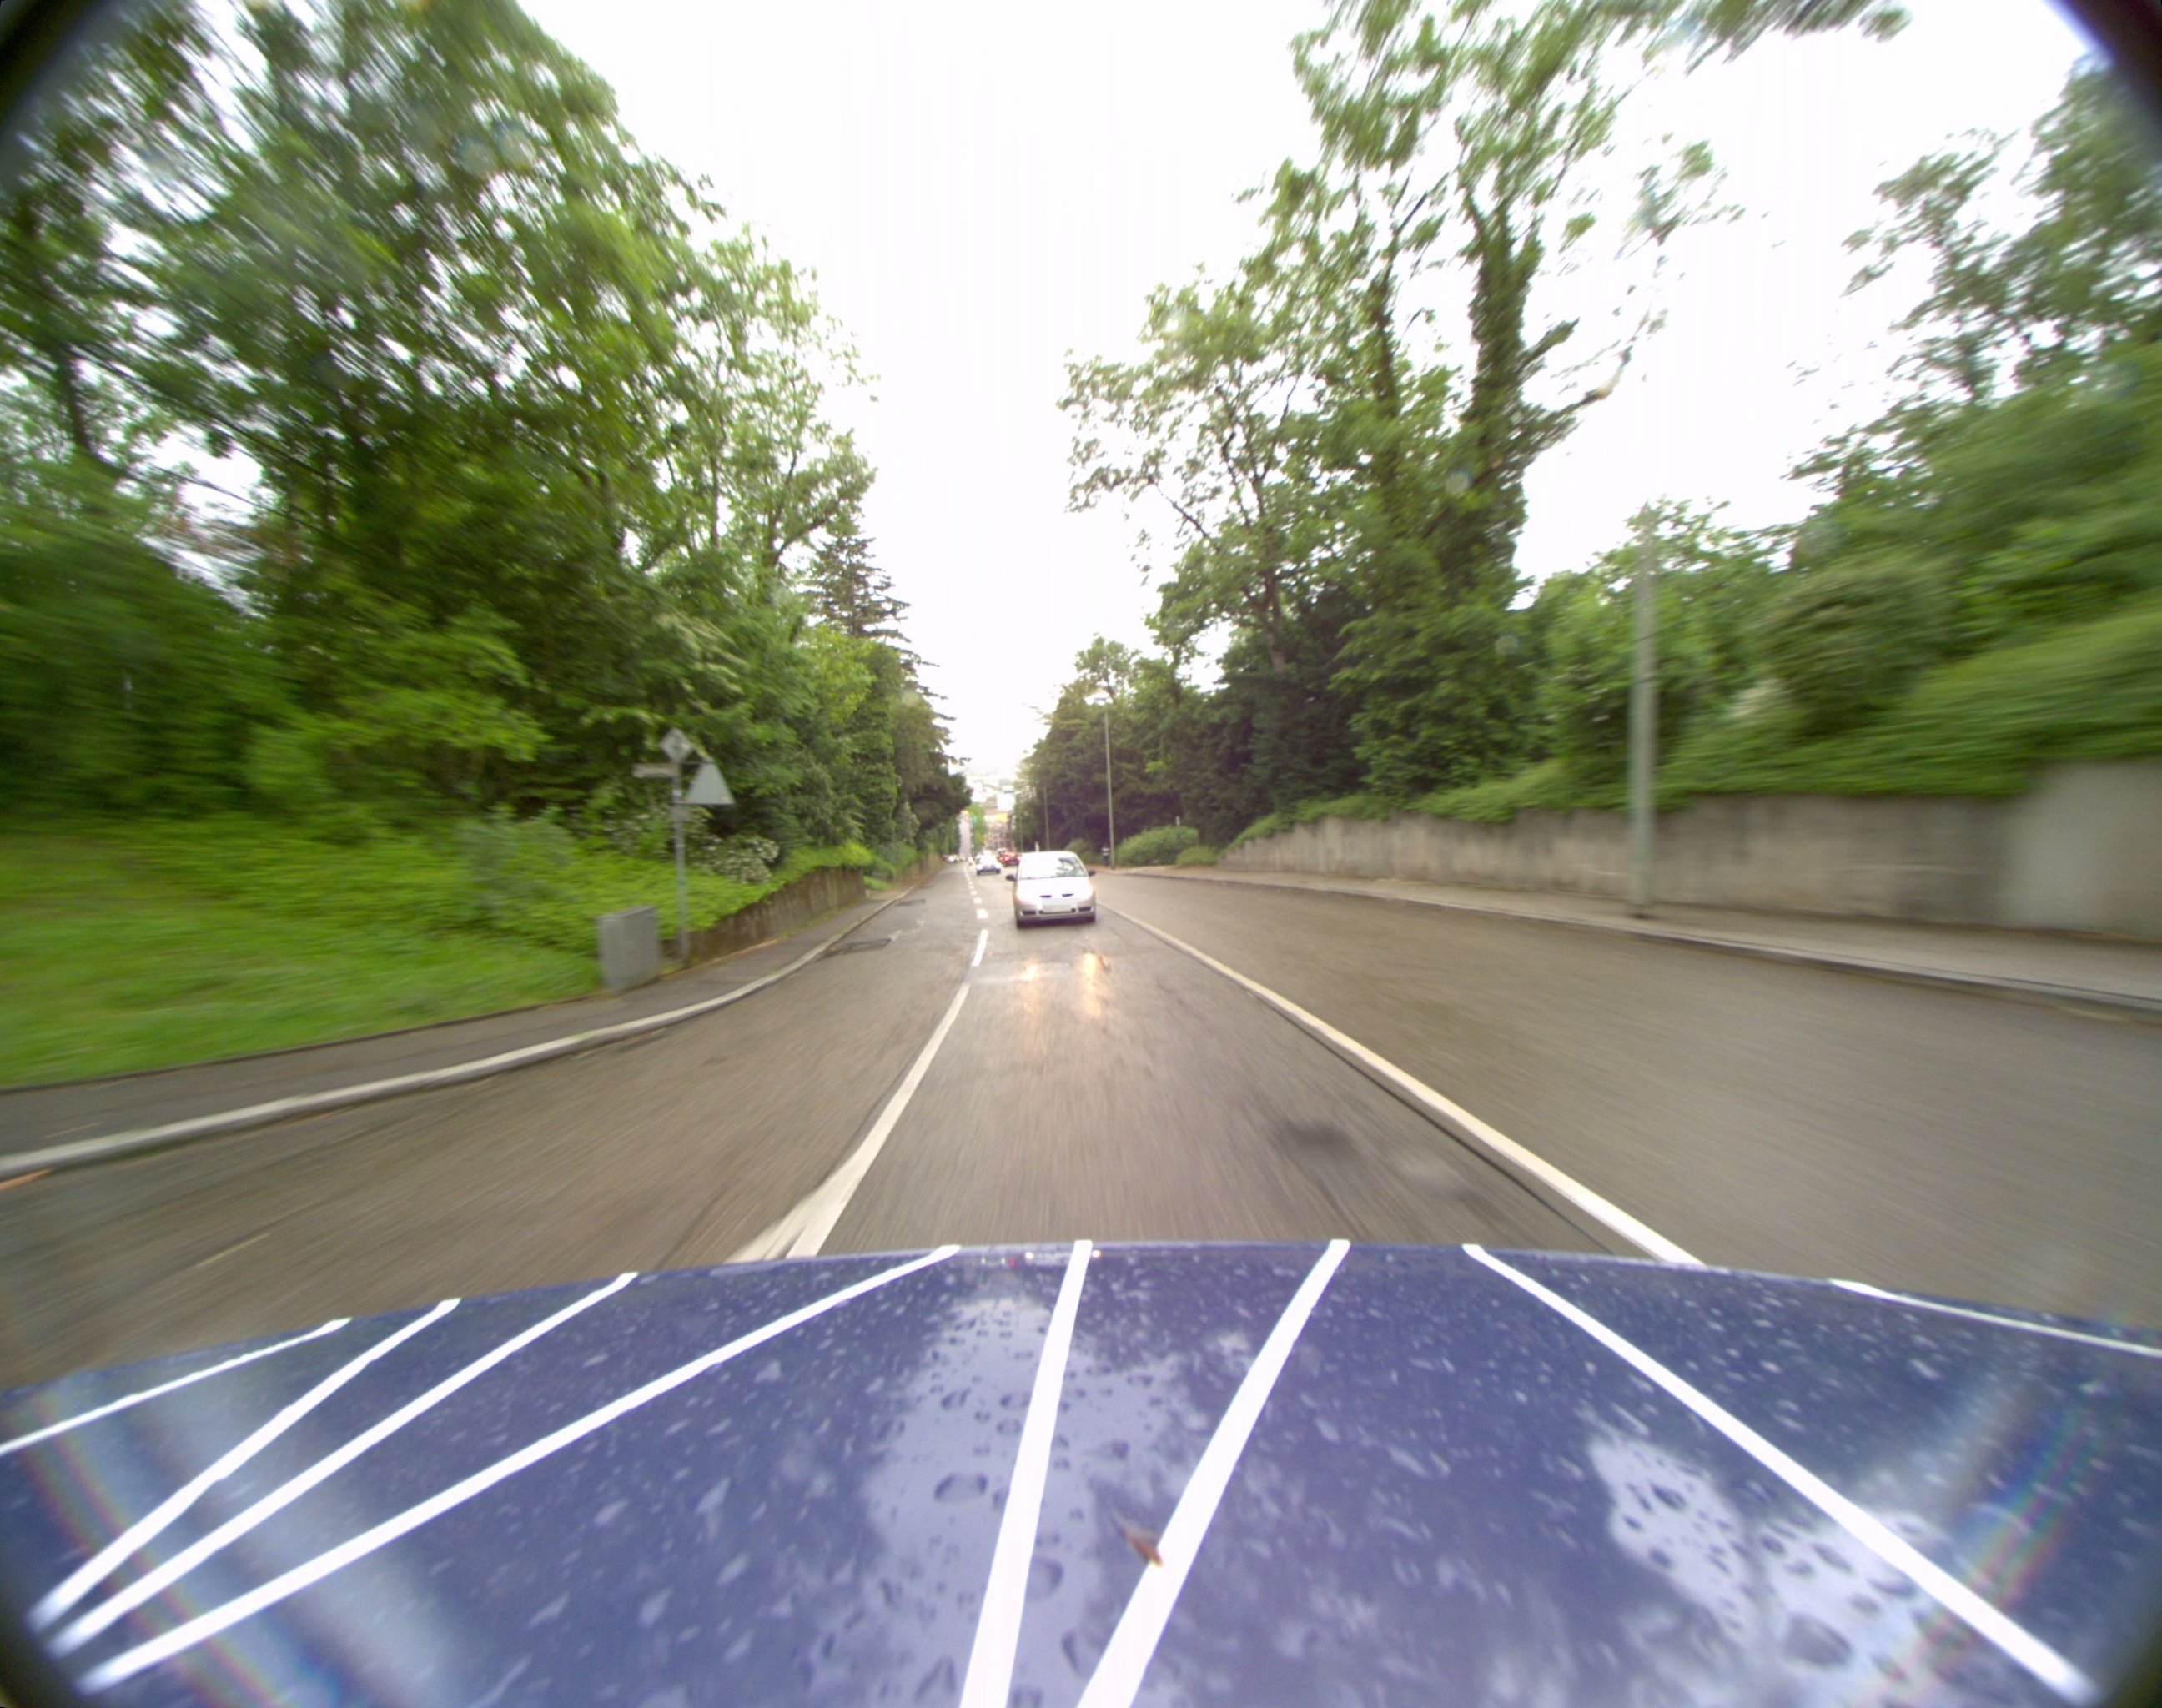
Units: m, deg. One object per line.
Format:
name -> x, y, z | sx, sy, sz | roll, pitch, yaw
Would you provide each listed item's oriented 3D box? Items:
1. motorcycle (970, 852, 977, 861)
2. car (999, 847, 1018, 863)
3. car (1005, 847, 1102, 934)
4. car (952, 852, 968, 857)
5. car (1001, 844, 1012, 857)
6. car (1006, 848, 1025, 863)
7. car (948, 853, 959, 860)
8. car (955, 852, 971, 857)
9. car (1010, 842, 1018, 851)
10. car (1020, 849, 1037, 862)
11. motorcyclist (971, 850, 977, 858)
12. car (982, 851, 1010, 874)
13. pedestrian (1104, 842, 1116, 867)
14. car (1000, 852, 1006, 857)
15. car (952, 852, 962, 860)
motorcycle -> -15.924, 0.377, 113.092 | 0.779, 1.120, 2.298 | -5, 1, -4
car -> -8.968, 0.117, 93.420 | 1.836, 1.701, 3.996 | -4, 1, -10
car -> -0.659, 0.698, 17.259 | 1.826, 1.604, 4.186 | -4, 1, -3
car -> -32.578, 0.132, 204.276 | 4.196, 1.565, 1.802 | 0, 1, -6
car -> -15.174, -0.645, 154.540 | 2.123, 2.536, 5.440 | -1, 0, -6
car -> -7.047, 0.188, 81.541 | 1.681, 1.487, 3.457 | -4, 1, -9
car -> -25.214, 0.482, 150.103 | 1.744, 1.469, 4.737 | -1, 0, -5
car -> -32.603, 0.174, 210.521 | 4.196, 1.565, 1.802 | 0, 1, -6
car -> -19.342, -2.265, 219.418 | 2.123, 2.536, 5.440 | -1, 0, -6
car -> -6.836, 0.236, 98.735 | 1.631, 1.490, 3.924 | -6, 1, -11
motorcyclist -> -15.951, 0.015, 113.046 | 0.779, 1.120, 0.548 | -5, 2, -4
car -> -6.608, 0.651, 58.875 | 2.000, 1.603, 3.964 | -3, 1, -7
pedestrian -> 2.017, 0.040, 52.696 | 0.708, 1.635, 0.713 | -4, 1, -2
car -> -24.103, 0.140, 234.555 | 1.766, 1.482, 3.998 | -2, 1, -5
car -> -26.243, 0.352, 160.959 | 1.770, 1.614, 4.675 | -3, 1, -7
